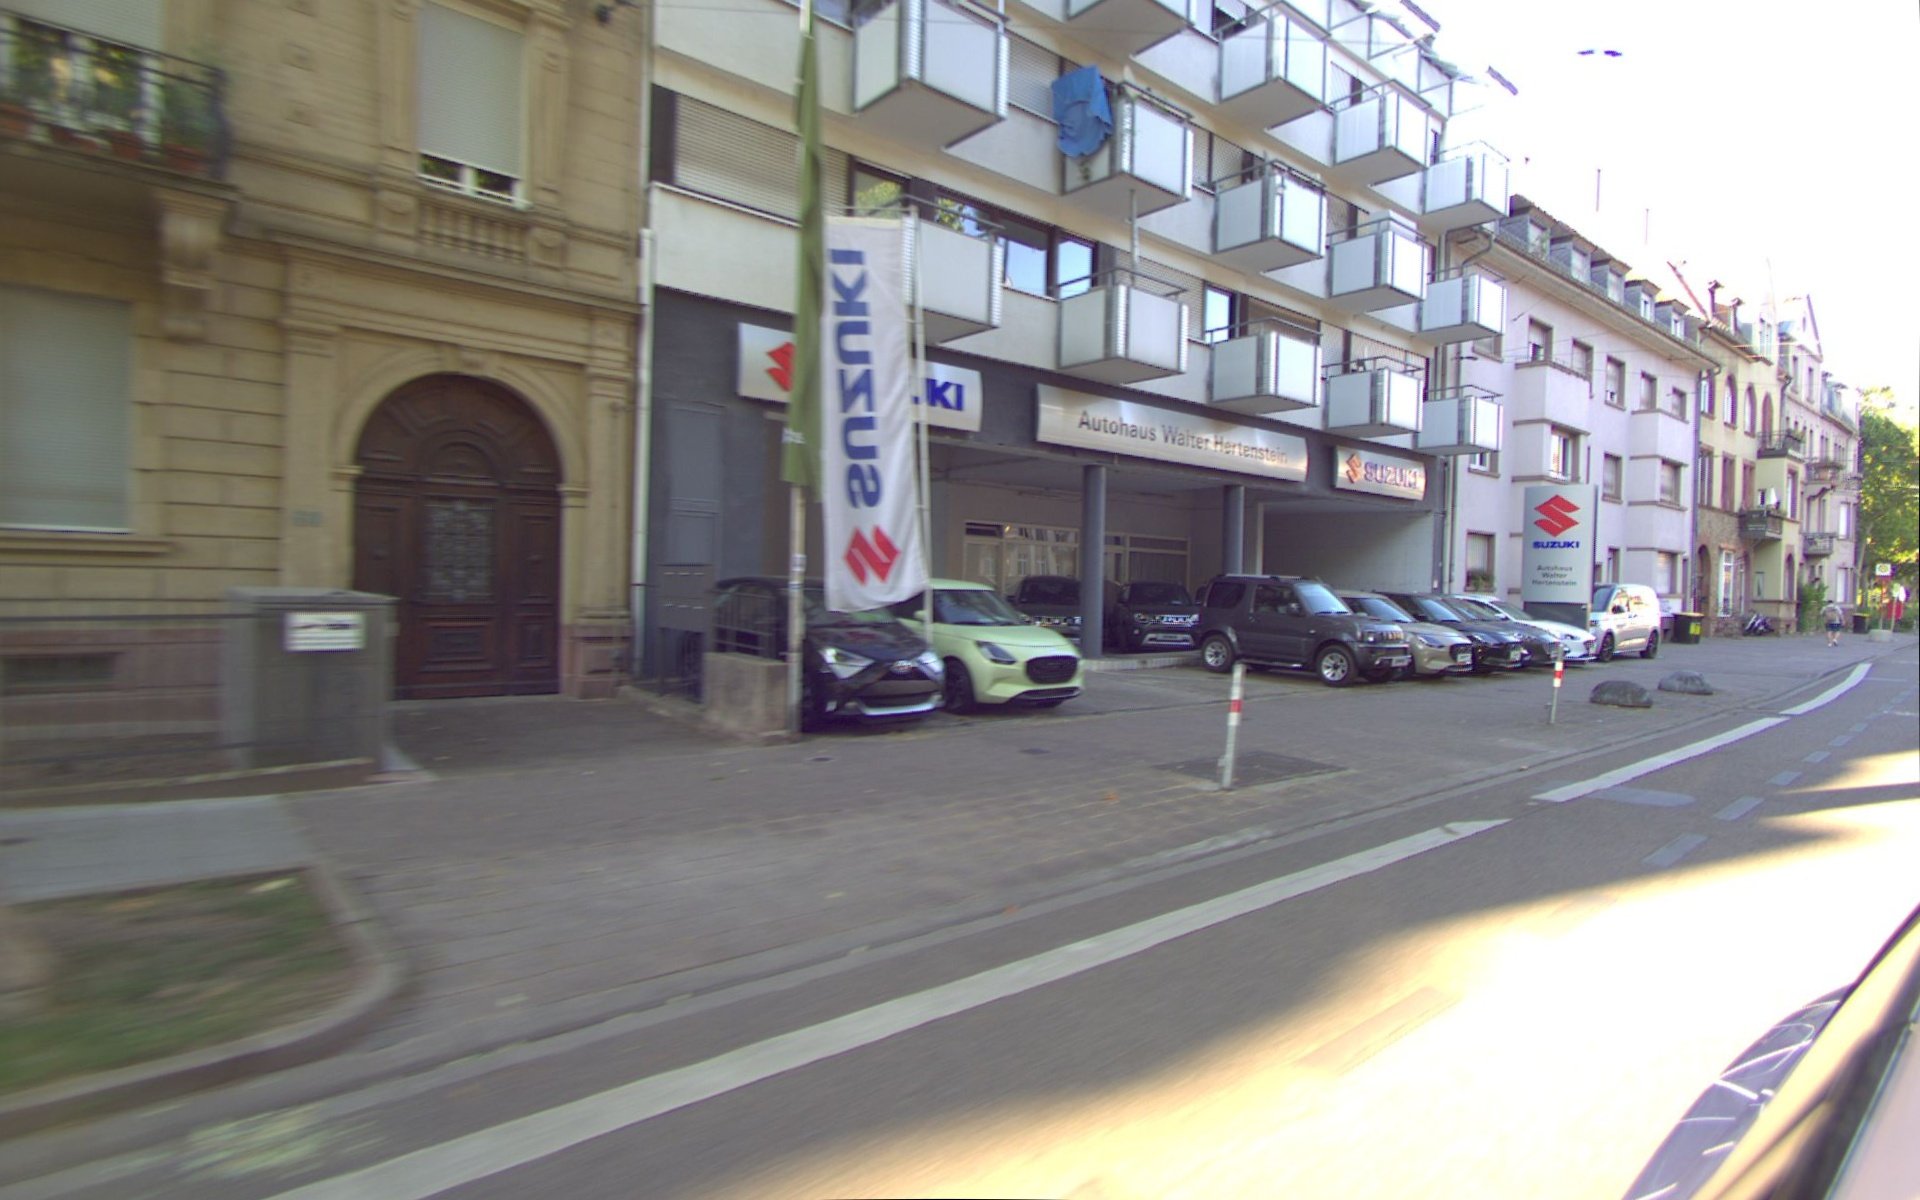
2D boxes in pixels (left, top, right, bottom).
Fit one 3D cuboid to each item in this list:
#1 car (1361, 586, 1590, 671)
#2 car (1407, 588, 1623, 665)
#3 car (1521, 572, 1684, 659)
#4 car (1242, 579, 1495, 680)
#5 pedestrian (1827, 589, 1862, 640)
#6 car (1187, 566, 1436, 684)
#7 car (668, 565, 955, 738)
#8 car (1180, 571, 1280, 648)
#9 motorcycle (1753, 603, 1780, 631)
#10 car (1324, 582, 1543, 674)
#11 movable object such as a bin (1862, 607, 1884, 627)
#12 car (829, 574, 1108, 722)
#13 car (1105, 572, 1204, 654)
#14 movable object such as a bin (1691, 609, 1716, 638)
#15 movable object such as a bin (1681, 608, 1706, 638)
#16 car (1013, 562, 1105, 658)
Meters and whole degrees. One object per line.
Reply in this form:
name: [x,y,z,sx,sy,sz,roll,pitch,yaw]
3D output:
car: [10.669,0.530,21.149,1.778,1.533,3.875,1,1,-41]
car: [12.388,0.538,22.749,1.879,1.520,3.820,2,0,-39]
car: [16.215,0.314,25.457,4.810,1.972,1.898,-1,2,-38]
car: [7.274,0.446,18.283,1.826,1.560,3.826,0,1,-41]
pedestrian: [33.344,0.532,38.133,1.130,1.835,0.830,-1,2,-42]
car: [5.778,0.342,16.941,1.651,1.741,3.590,2,0,-38]
car: [-1.722,0.412,10.930,1.418,1.565,3.423,-1,2,-42]
car: [6.071,0.170,23.053,1.477,1.583,3.346,1,1,3]
motorcycle: [35.193,0.721,44.148,2.464,1.151,0.590,-1,2,-44]
car: [9.078,0.472,19.608,1.709,1.544,3.427,1,1,-38]
movable object such as a bin: [49.064,0.921,54.385,0.645,1.059,0.659,0,1,-27]
car: [-0.005,0.459,12.580,1.725,1.537,3.427,-1,2,-38]
car: [4.121,0.217,21.873,1.580,1.583,3.524,1,1,3]
movable object such as a bin: [25.897,0.819,35.256,0.574,0.981,0.555,0,2,-38]
movable object such as a bin: [25.147,0.773,34.694,0.574,0.981,0.555,0,2,-38]
car: [1.858,0.139,19.864,1.588,1.677,3.598,1,1,3]
